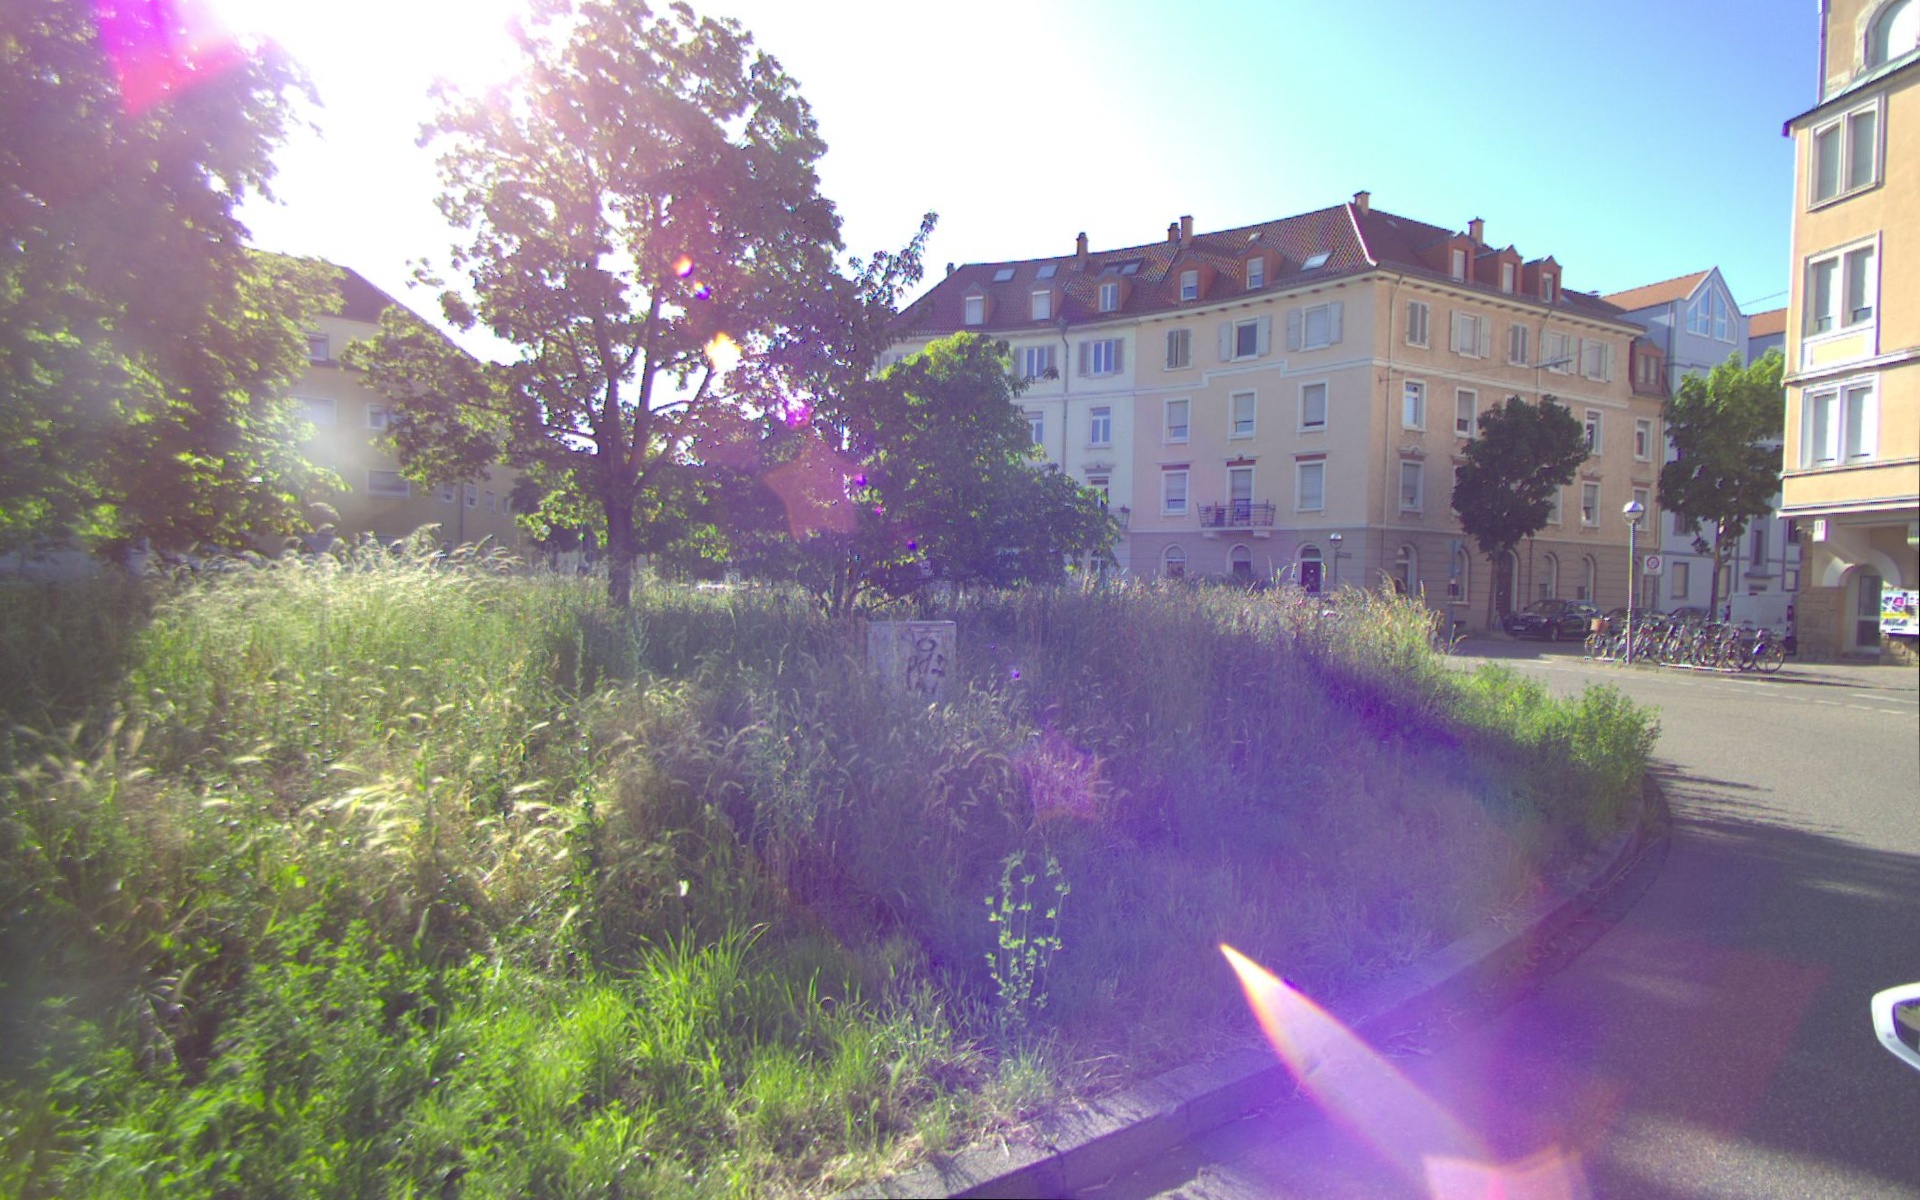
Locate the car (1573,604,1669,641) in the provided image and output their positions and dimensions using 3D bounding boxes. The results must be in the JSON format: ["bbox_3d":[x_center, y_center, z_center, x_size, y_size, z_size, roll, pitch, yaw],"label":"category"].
[{"bbox_3d":[27.768,0.946,42.198,3.613,1.431,1.691,1,1,-25],"label":"car"}]

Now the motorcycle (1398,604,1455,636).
[{"bbox_3d":[19.175,0.804,41.298,2.124,1.237,0.937,1,2,-25],"label":"motorcycle"}]

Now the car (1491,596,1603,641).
[{"bbox_3d":[23.340,0.731,39.902,4.294,1.664,1.895,1,1,-29],"label":"car"}]

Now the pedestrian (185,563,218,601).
[{"bbox_3d":[-30.665,-0.730,40.631,0.683,1.544,0.826,1,1,17],"label":"pedestrian"}]

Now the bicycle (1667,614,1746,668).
[{"bbox_3d":[17.288,0.947,23.253,1.667,1.207,0.451,1,0,-11],"label":"bicycle"}]

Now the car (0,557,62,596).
[{"bbox_3d":[-36.741,-0.894,38.398,4.401,1.430,1.732,1,1,20],"label":"car"}]

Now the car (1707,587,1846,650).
[{"bbox_3d":[26.792,0.592,32.921,4.509,1.935,2.123,1,1,-31],"label":"car"}]

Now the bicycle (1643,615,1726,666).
[{"bbox_3d":[17.155,0.966,23.792,1.667,1.161,0.615,1,0,-11],"label":"bicycle"}]

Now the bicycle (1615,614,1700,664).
[{"bbox_3d":[17.122,0.945,24.662,1.664,1.161,0.637,1,0,-3],"label":"bicycle"}]

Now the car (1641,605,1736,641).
[{"bbox_3d":[32.397,1.033,44.646,3.948,1.506,1.691,1,1,-25],"label":"car"}]

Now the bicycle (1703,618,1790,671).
[{"bbox_3d":[17.516,0.986,22.374,1.687,1.138,0.482,1,0,-9],"label":"bicycle"}]

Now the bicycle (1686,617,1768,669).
[{"bbox_3d":[17.429,0.982,22.821,1.667,1.138,0.482,1,0,-11],"label":"bicycle"}]

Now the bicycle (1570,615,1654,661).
[{"bbox_3d":[16.886,0.985,26.032,1.834,1.145,0.698,2,-1,-9],"label":"bicycle"}]

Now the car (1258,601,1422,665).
[{"bbox_3d":[9.602,0.792,25.734,1.842,1.438,3.983,0,1,-19],"label":"car"}]

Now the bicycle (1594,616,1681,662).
[{"bbox_3d":[17.069,0.980,25.316,1.843,1.104,0.536,1,0,-3],"label":"bicycle"}]
